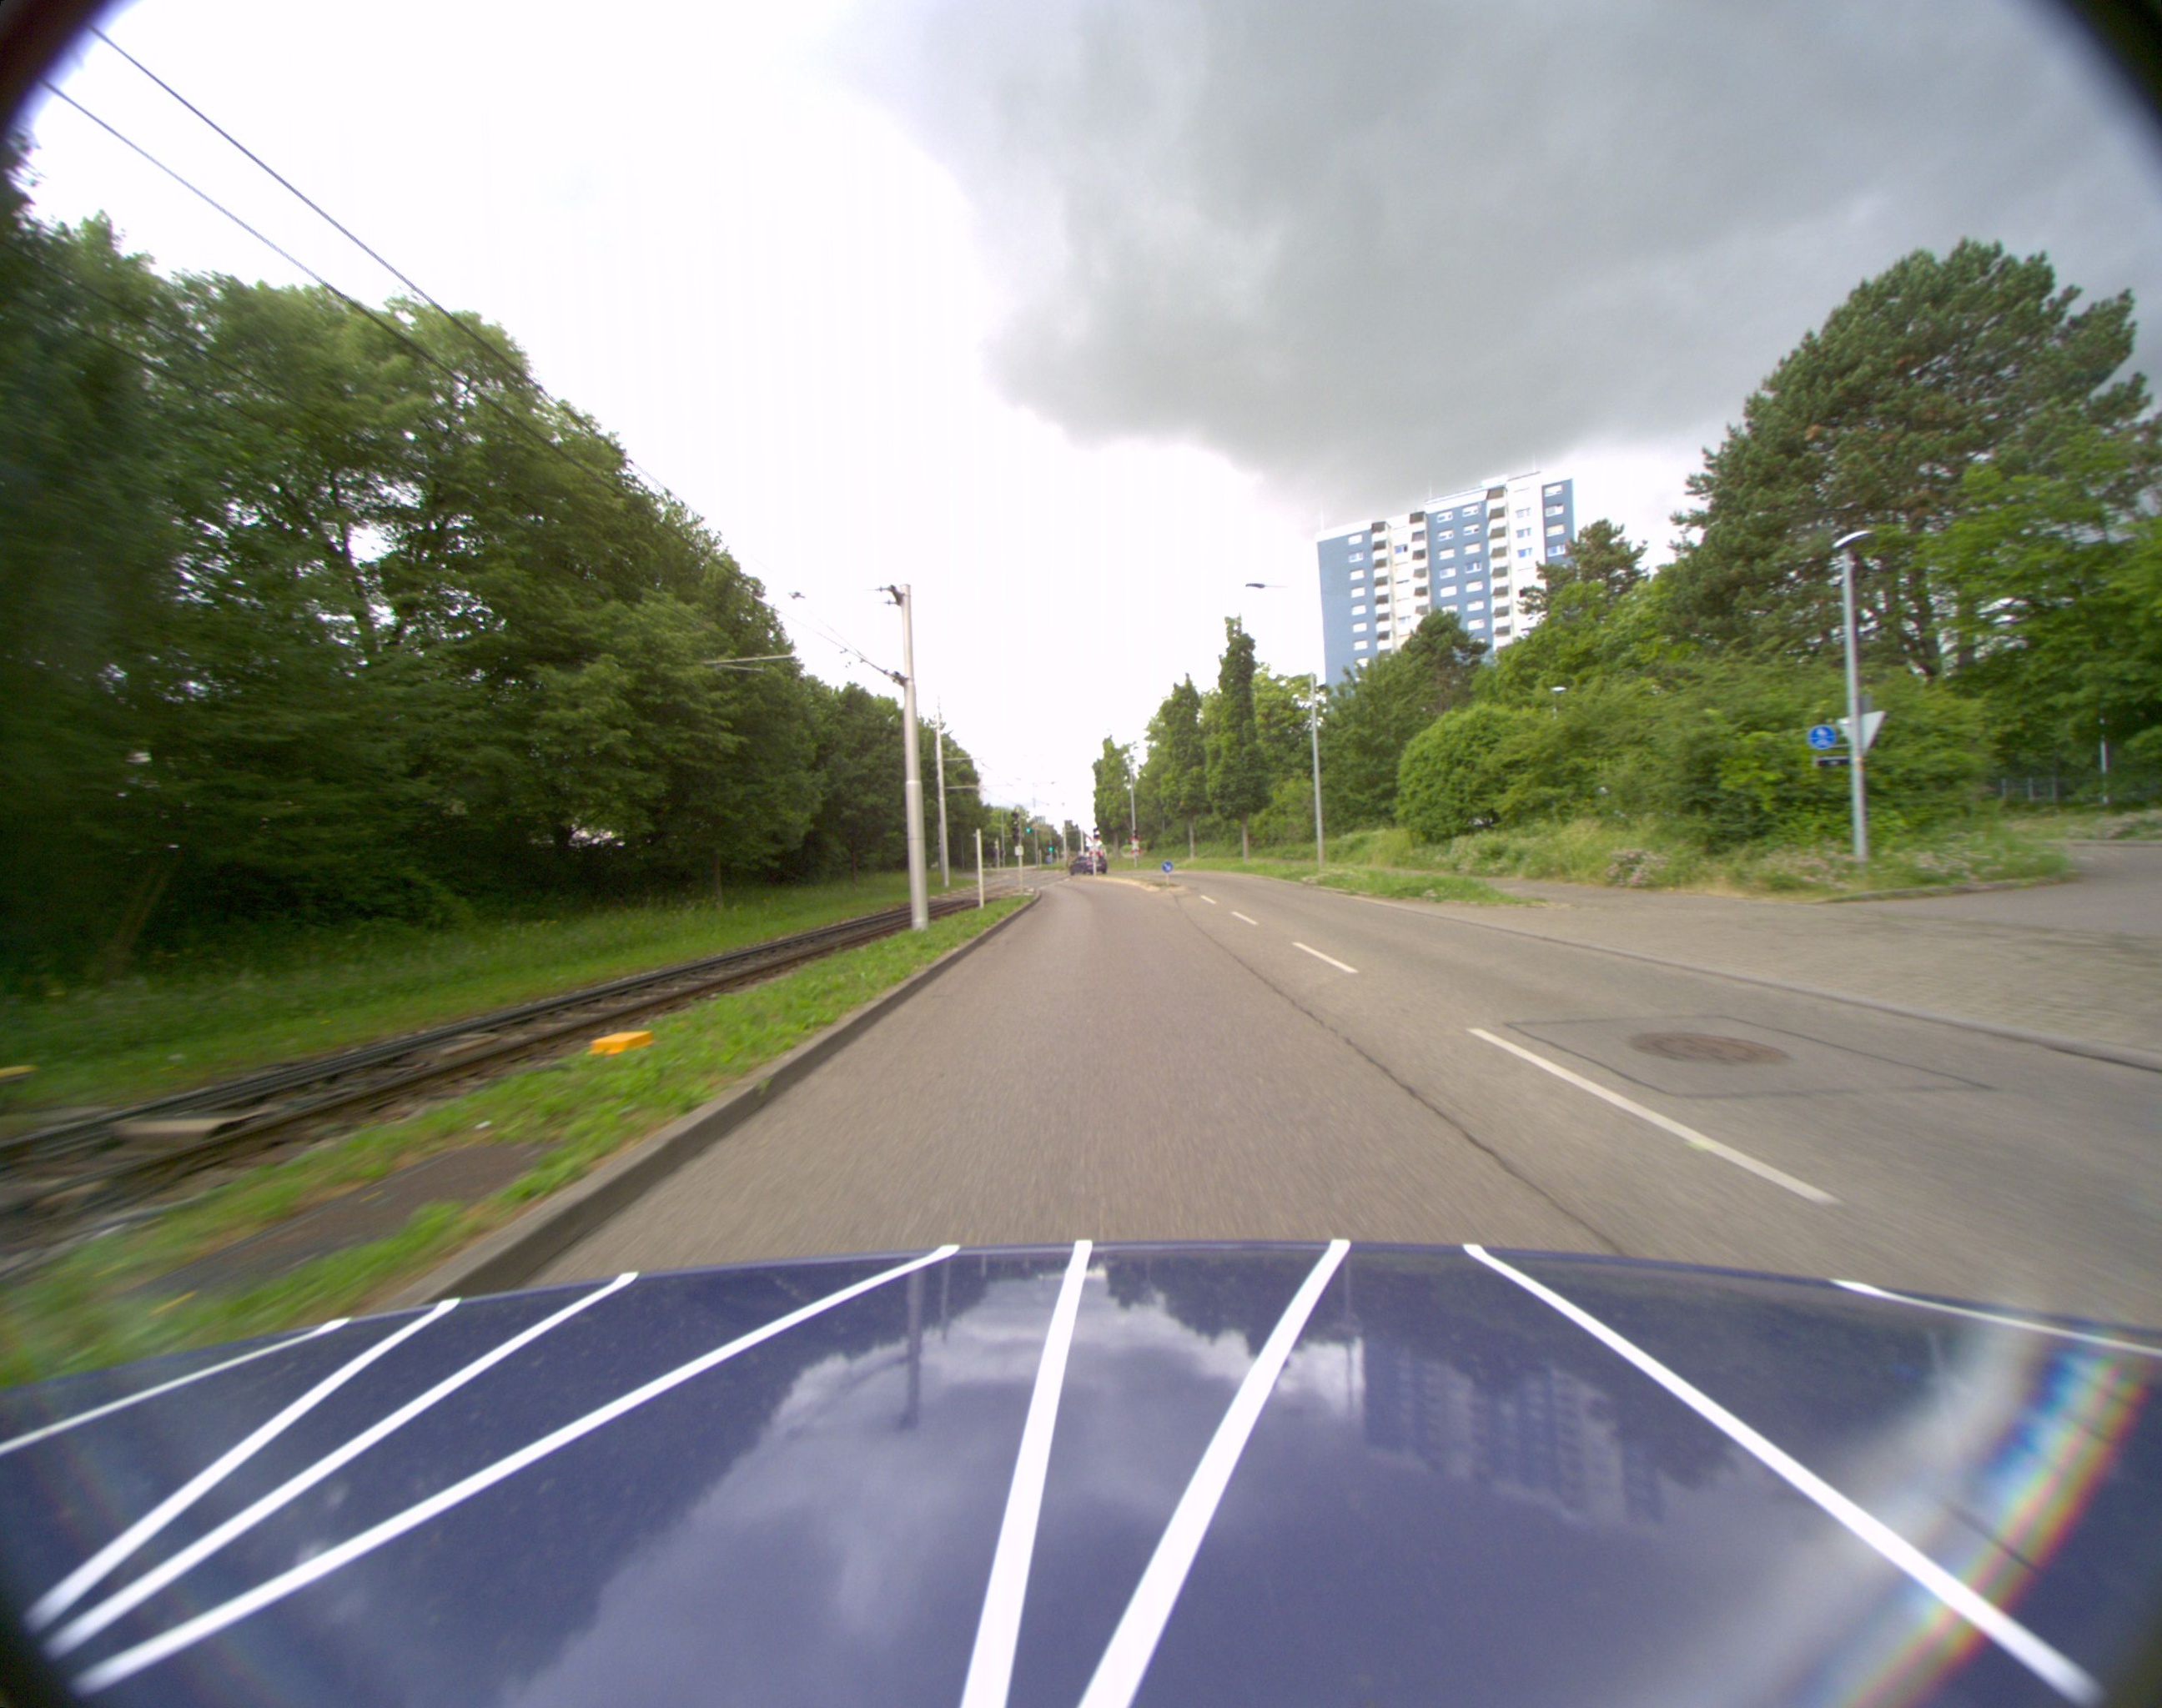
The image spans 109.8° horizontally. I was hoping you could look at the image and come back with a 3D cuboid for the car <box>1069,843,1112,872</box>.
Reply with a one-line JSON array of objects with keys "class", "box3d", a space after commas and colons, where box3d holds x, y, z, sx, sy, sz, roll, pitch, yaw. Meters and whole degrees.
[{"class": "car", "box3d": [0.650, 0.239, 55.008, 1.606, 2.002, 3.992, -3, 1, -23]}]
